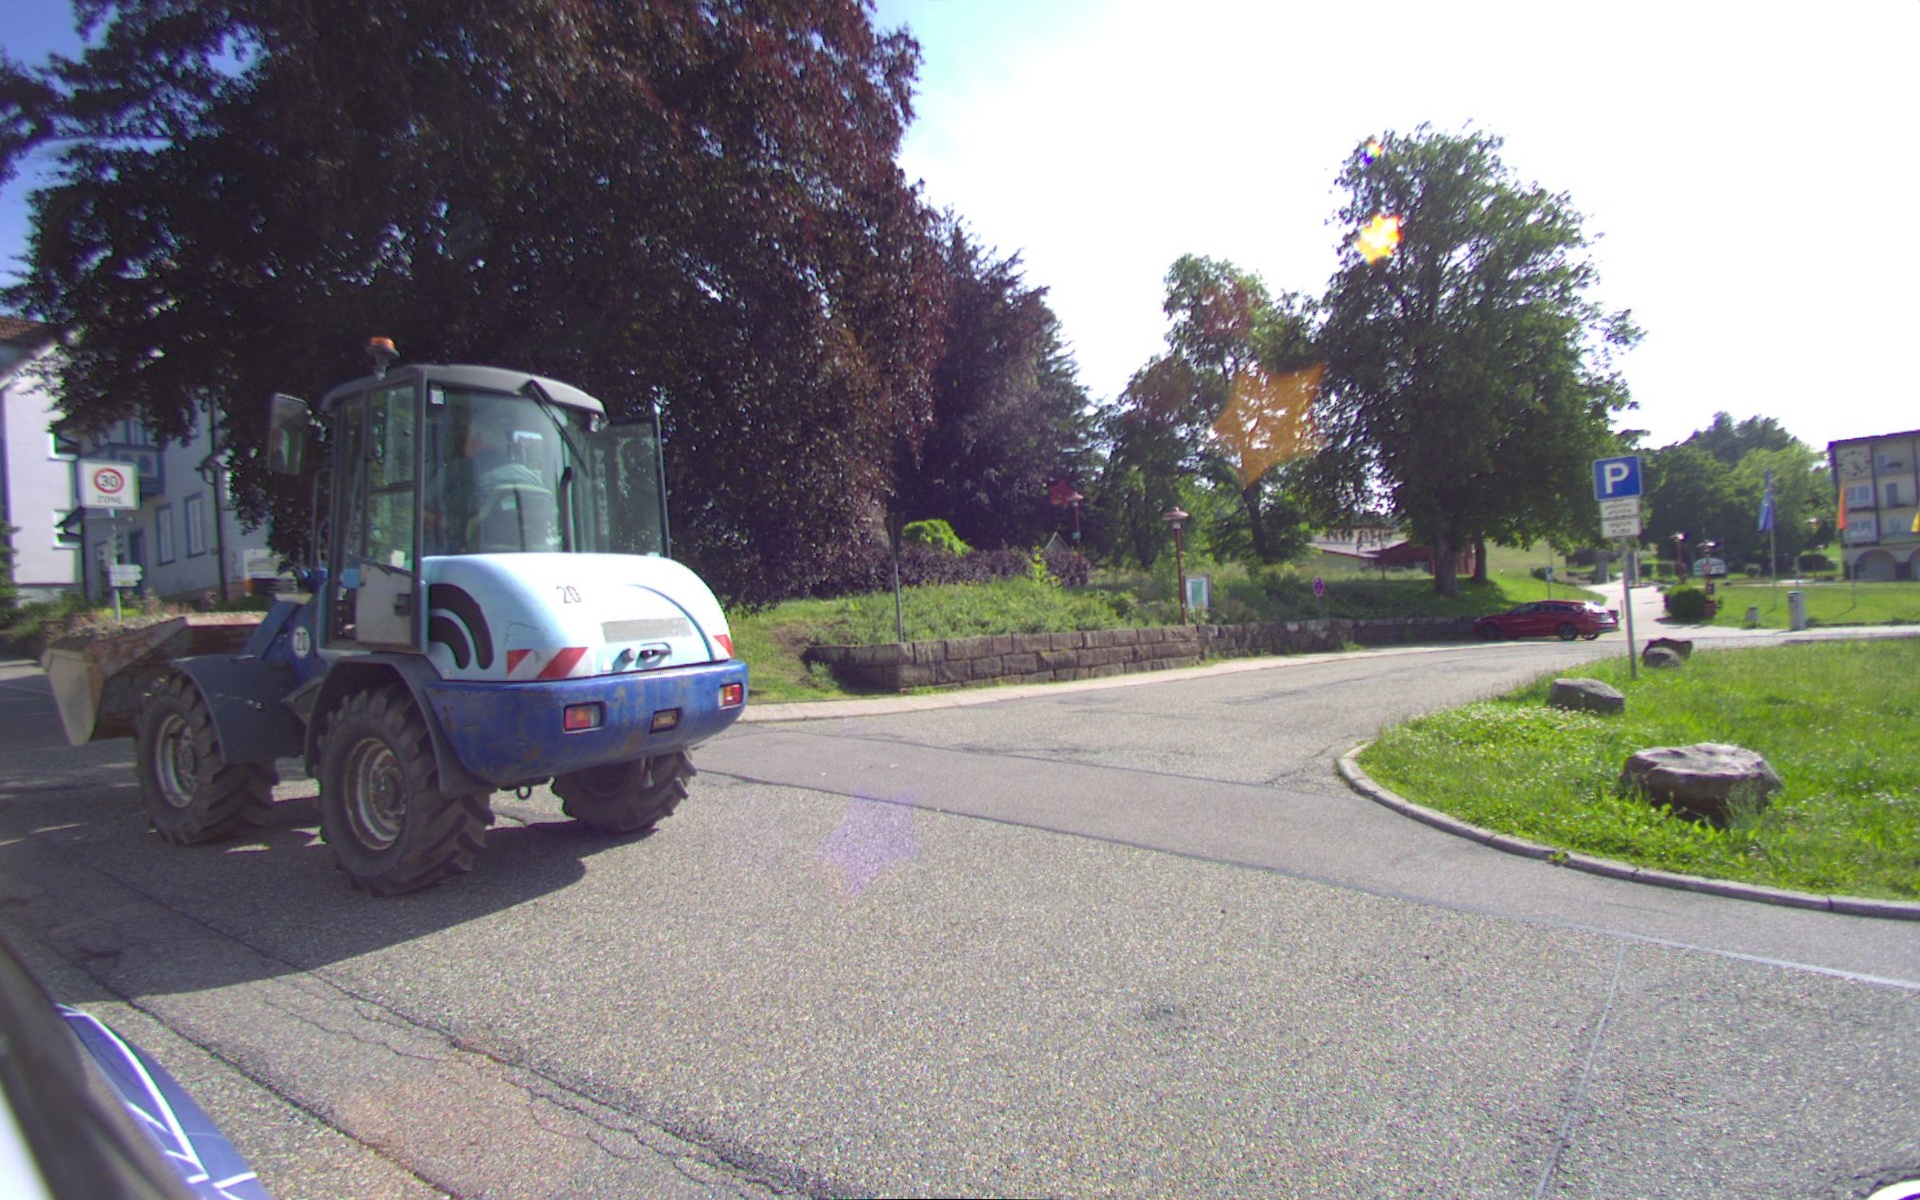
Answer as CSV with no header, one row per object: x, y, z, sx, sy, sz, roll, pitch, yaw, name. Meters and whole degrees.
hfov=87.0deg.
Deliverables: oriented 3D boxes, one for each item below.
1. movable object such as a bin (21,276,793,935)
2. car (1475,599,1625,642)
-3.675,0.033,6.433,5.085,2.790,1.980,0,0,30,movable object such as a bin
20.973,0.721,36.143,1.793,1.409,4.250,-1,-1,-32,car
